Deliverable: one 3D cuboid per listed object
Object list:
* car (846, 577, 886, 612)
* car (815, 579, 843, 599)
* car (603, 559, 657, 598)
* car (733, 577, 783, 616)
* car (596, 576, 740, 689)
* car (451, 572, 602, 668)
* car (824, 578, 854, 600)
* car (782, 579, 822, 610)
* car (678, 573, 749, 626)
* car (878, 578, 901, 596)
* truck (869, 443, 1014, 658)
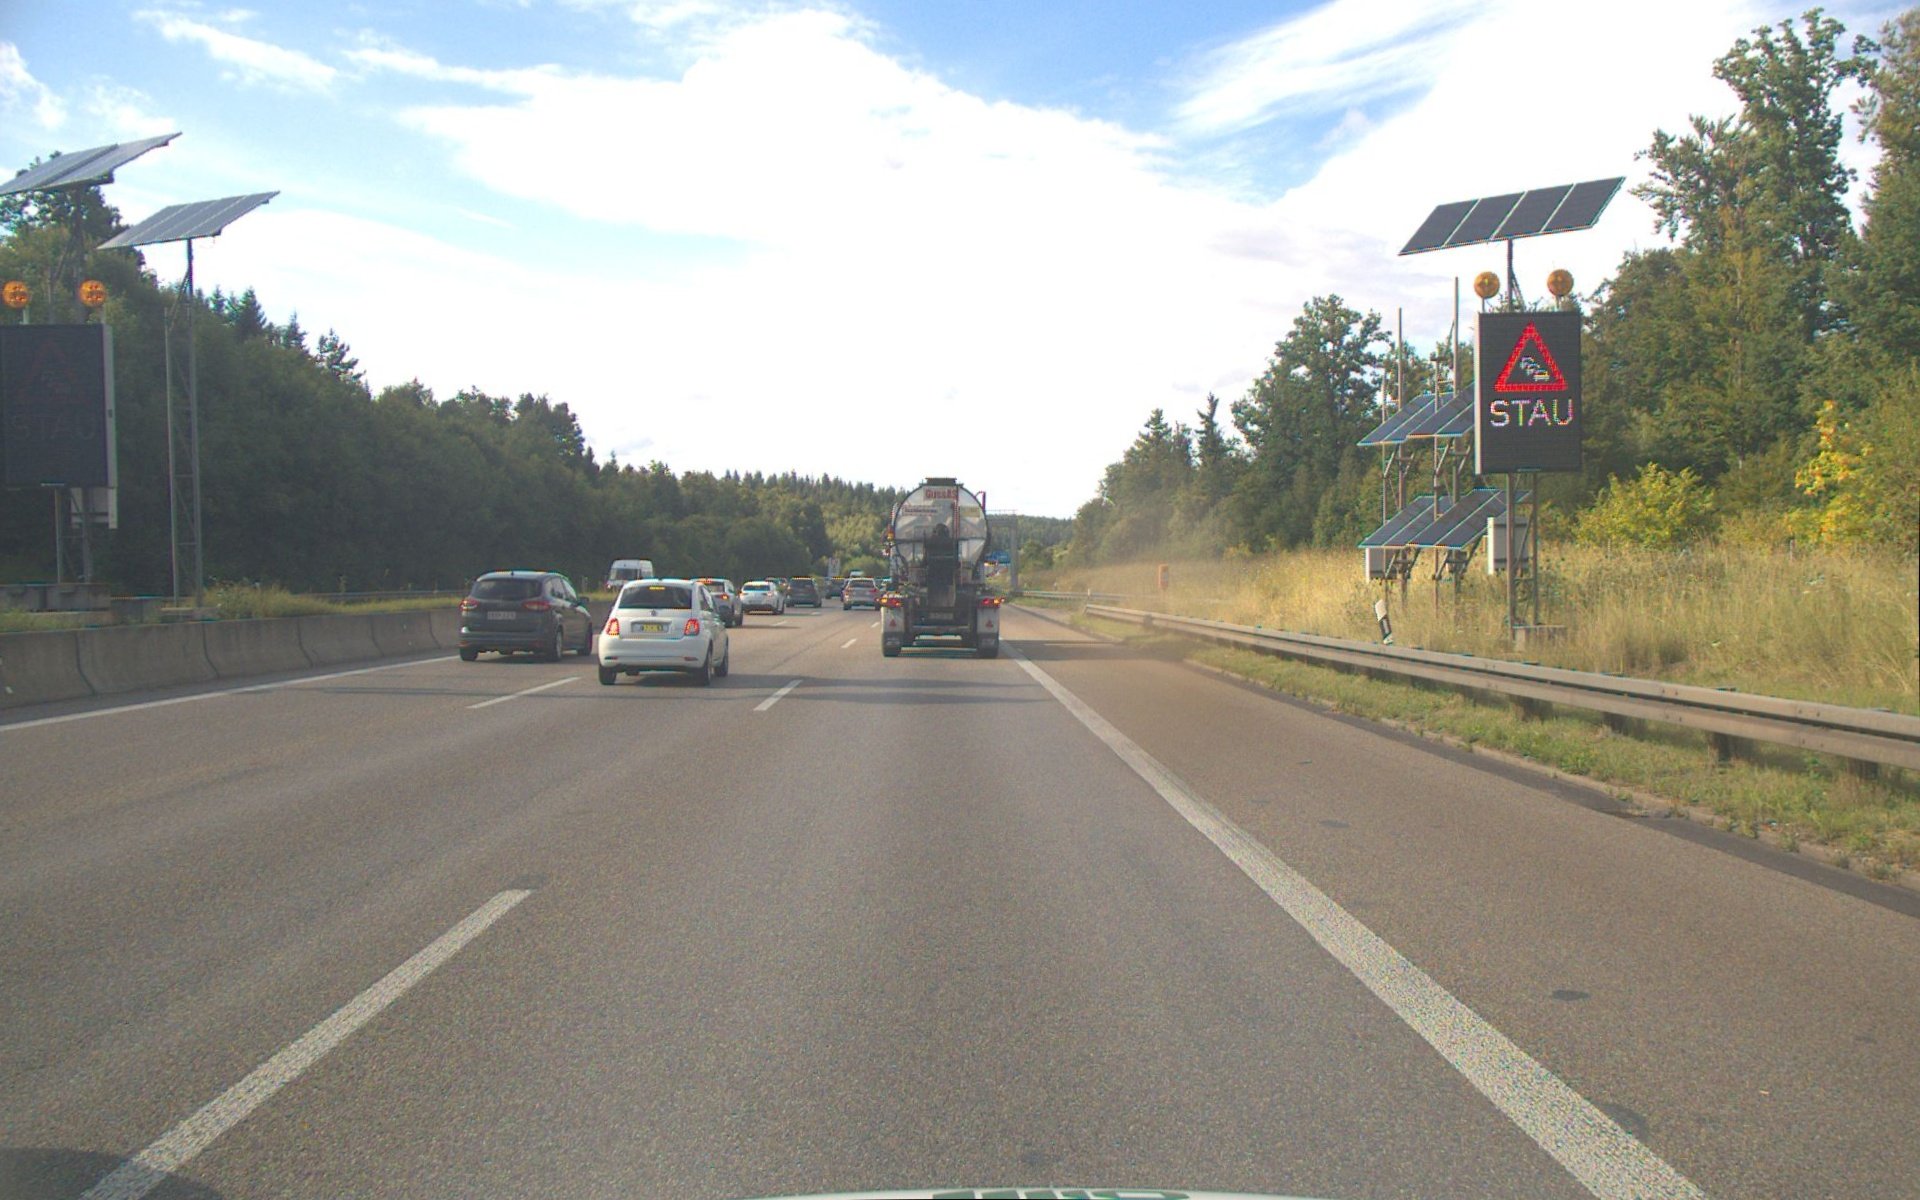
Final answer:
[{"bbox_3d":[-4.897,-0.314,86.208,1.903,1.683,4.206,1,1,-1],"label":"car"},{"bbox_3d":[-10.372,-0.884,131.084,1.903,1.482,4.206,1,1,-1],"label":"car"},{"bbox_3d":[-20.479,-1.332,102.943,2.066,2.353,6.723,0,1,-1],"label":"car"},{"bbox_3d":[-8.890,-0.189,73.176,1.770,1.613,4.206,1,1,-1],"label":"car"},{"bbox_3d":[-4.331,0.446,24.983,1.585,1.571,3.519,1,0,-1],"label":"car"},{"bbox_3d":[-8.030,0.318,30.997,1.770,1.613,4.206,1,1,-1],"label":"car"},{"bbox_3d":[-8.626,-0.772,118.384,1.903,1.482,4.206,1,1,-1],"label":"car"},{"bbox_3d":[-8.777,-0.314,92.296,1.903,1.613,4.206,1,1,-1],"label":"car"},{"bbox_3d":[-7.978,-0.047,53.857,1.770,1.613,4.206,1,1,-1],"label":"car"},{"bbox_3d":[-6.199,-1.162,146.046,1.903,1.482,4.206,1,1,-1],"label":"car"},{"bbox_3d":[-0.408,-1.044,38.403,2.853,4.230,11.269,0,1,-1],"label":"truck"}]
